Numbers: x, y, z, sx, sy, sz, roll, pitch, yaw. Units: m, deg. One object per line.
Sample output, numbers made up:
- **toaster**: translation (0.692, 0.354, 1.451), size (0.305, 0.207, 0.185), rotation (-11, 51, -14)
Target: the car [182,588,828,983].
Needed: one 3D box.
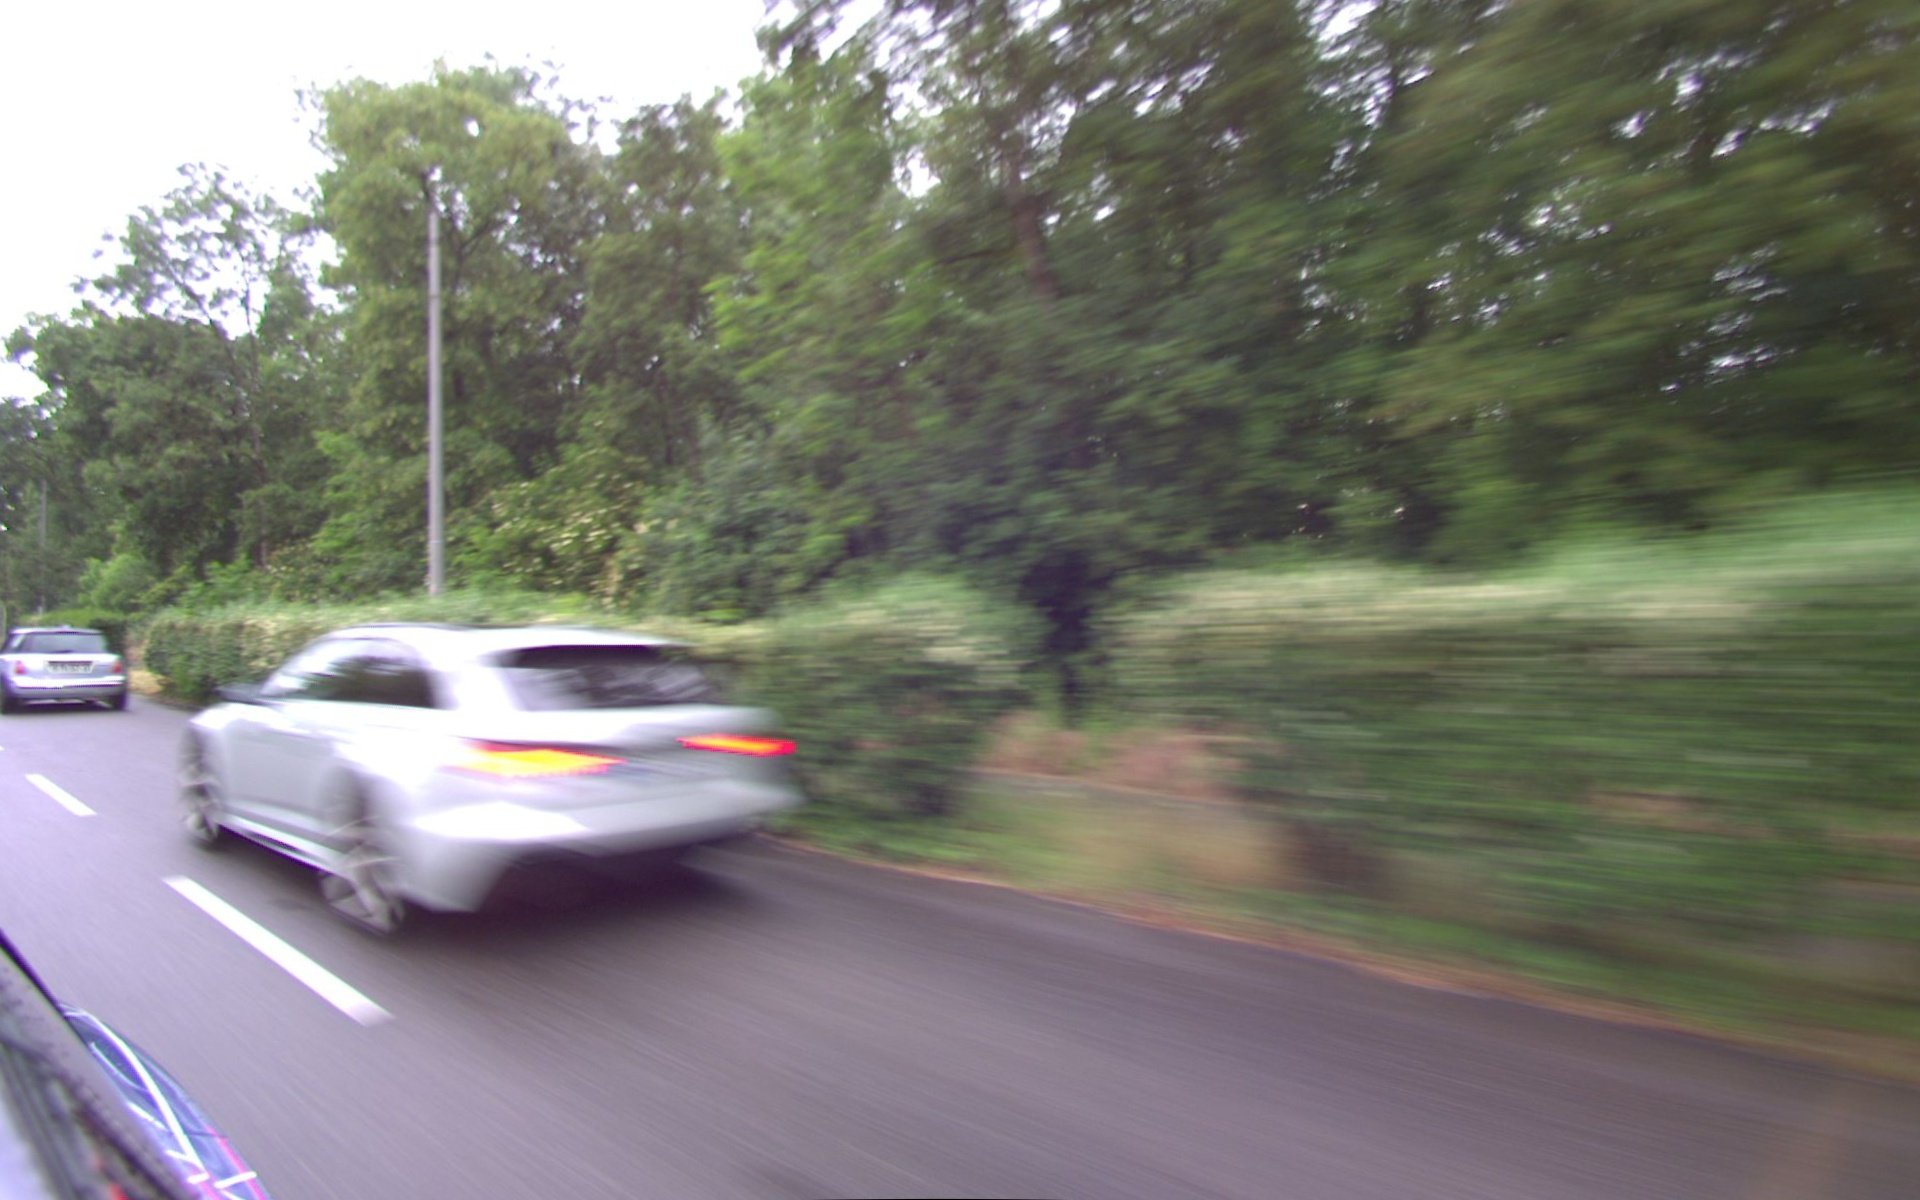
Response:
- **car**: translation (-2.945, 0.815, 6.007), size (4.445, 1.479, 1.836), rotation (-3, -5, 42)

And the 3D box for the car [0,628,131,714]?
- **car**: translation (-16.088, 1.212, 17.860), size (3.722, 1.366, 1.668), rotation (-3, -4, 42)
